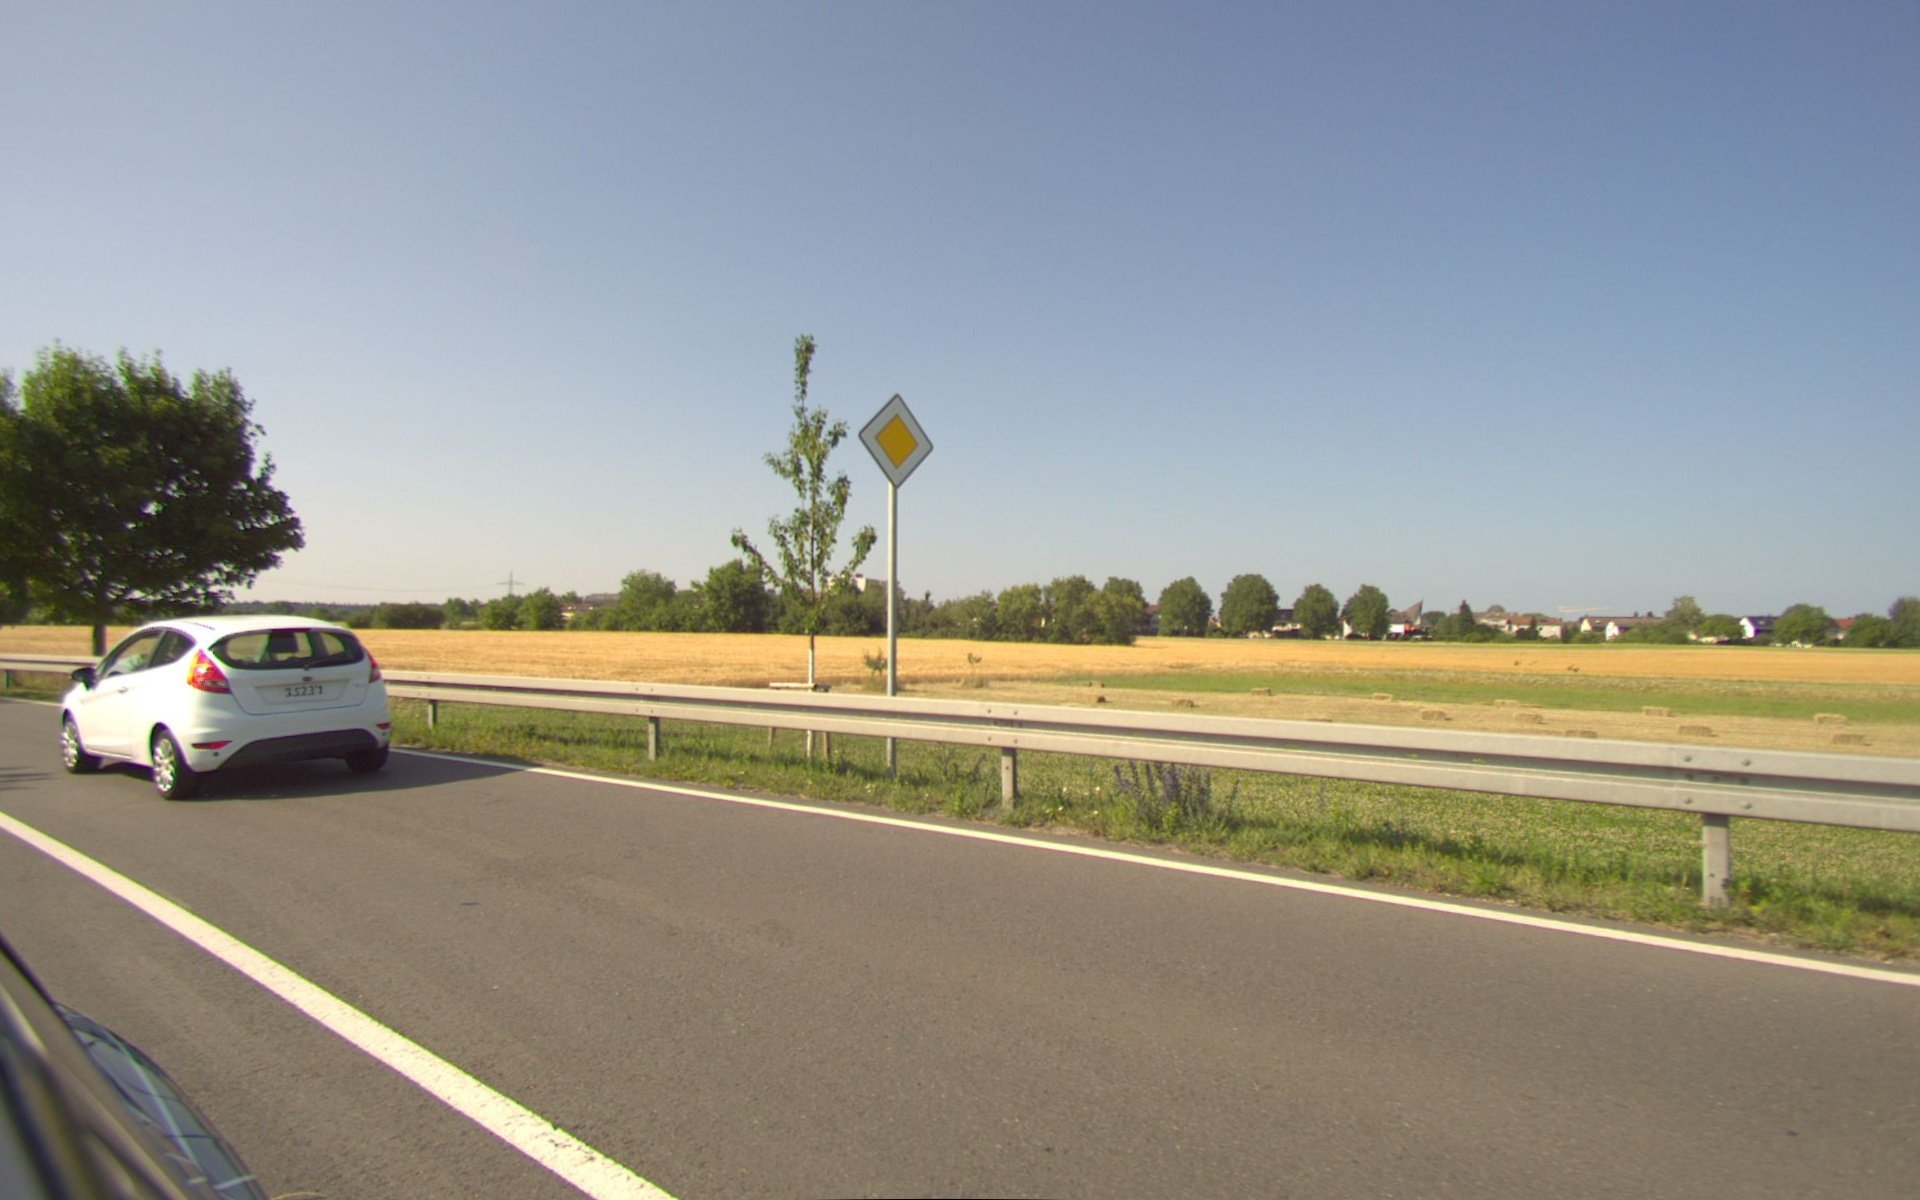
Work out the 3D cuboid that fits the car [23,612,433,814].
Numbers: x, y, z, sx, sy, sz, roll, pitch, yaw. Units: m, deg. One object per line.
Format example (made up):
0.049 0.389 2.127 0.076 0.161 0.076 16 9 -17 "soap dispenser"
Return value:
-6.912 0.864 9.439 4.143 1.460 1.837 -1 0 35 "car"
